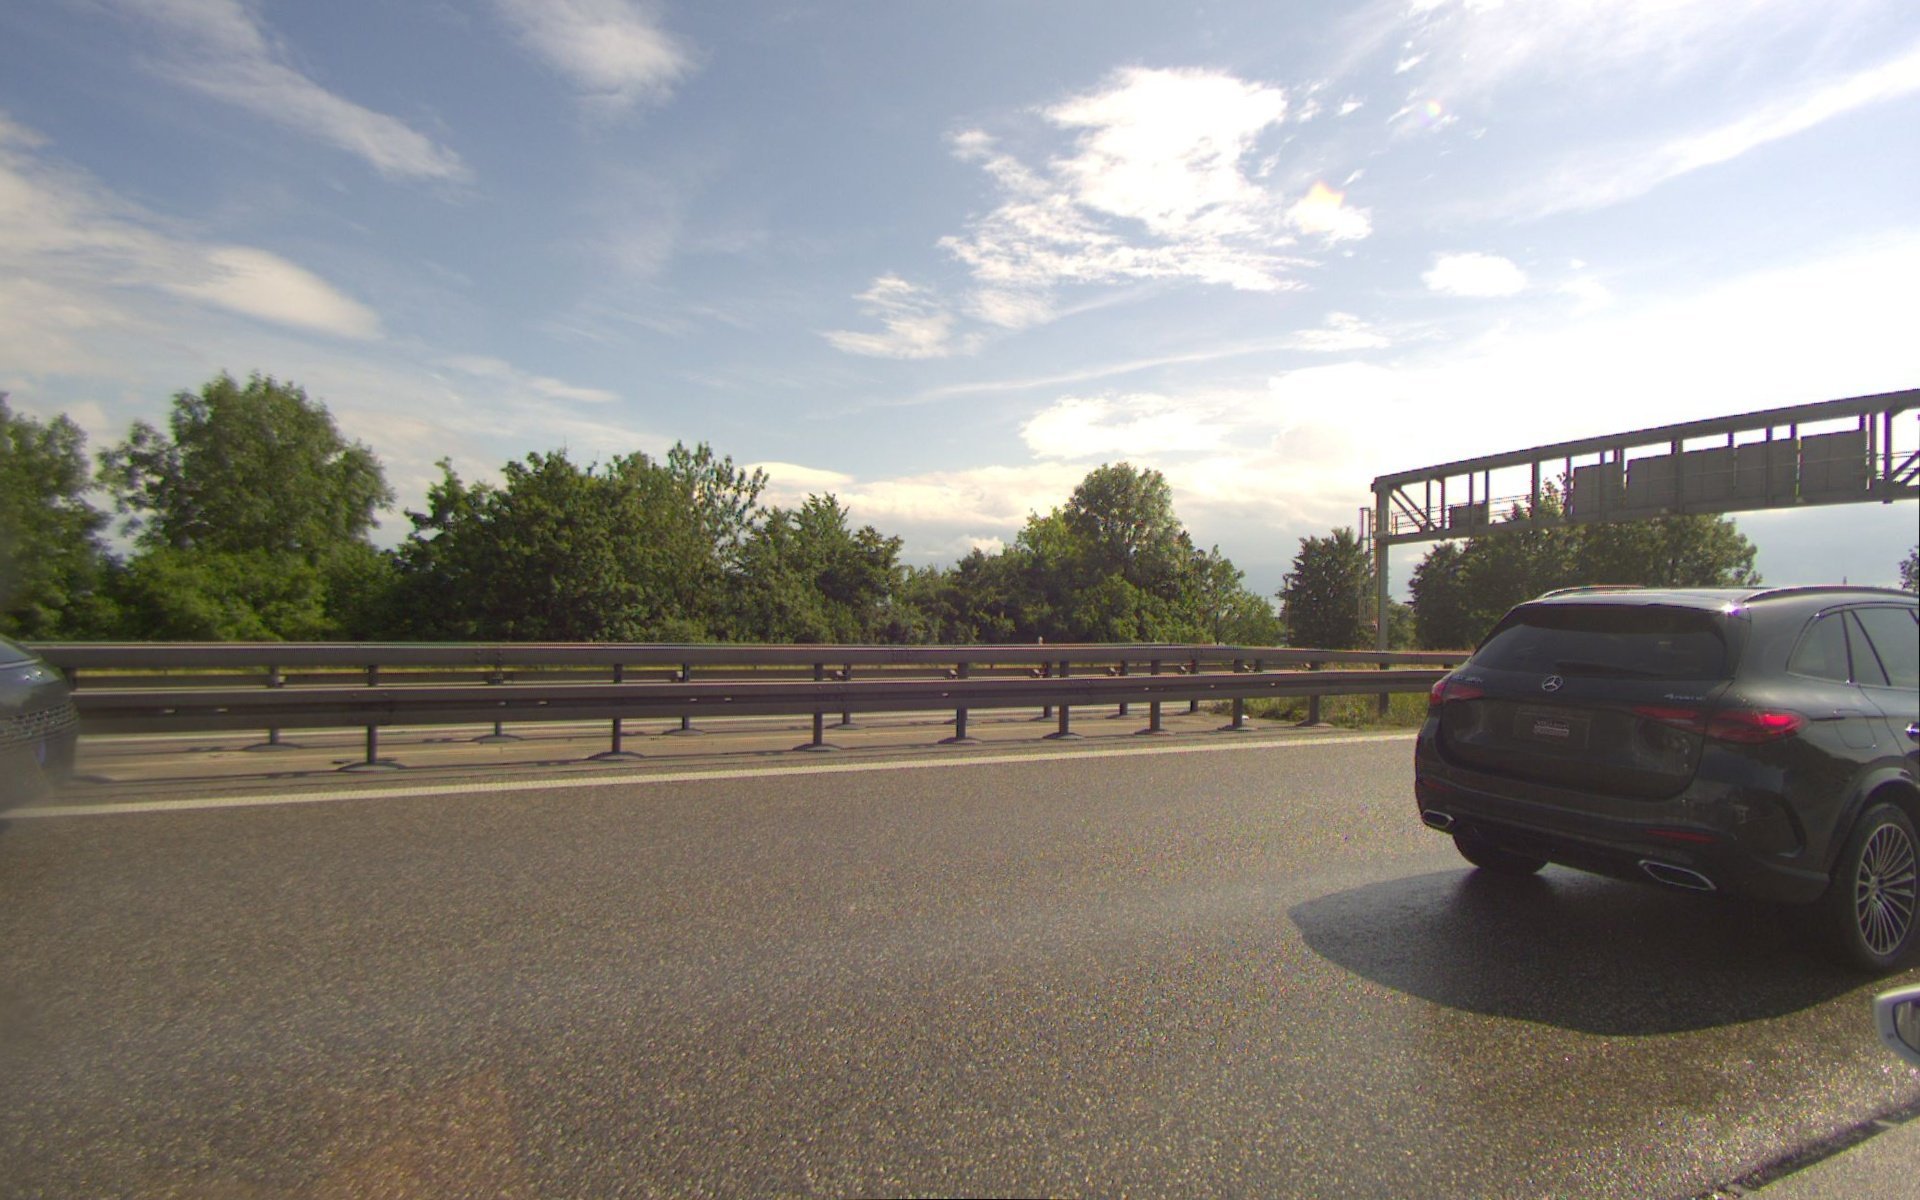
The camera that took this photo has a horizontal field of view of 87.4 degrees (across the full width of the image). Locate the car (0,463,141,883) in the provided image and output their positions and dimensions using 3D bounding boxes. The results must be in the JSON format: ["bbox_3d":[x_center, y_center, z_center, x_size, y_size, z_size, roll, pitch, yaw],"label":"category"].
[{"bbox_3d":[-7.328,0.295,4.587,5.202,2.040,1.986,1,0,-28],"label":"car"}]

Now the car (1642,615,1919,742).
[{"bbox_3d":[11.669,1.022,14.024,4.153,1.537,1.751,1,0,-26],"label":"car"}]

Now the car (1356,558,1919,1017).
[{"bbox_3d":[4.541,0.745,5.582,4.350,1.683,1.986,2,0,-27],"label":"car"}]
